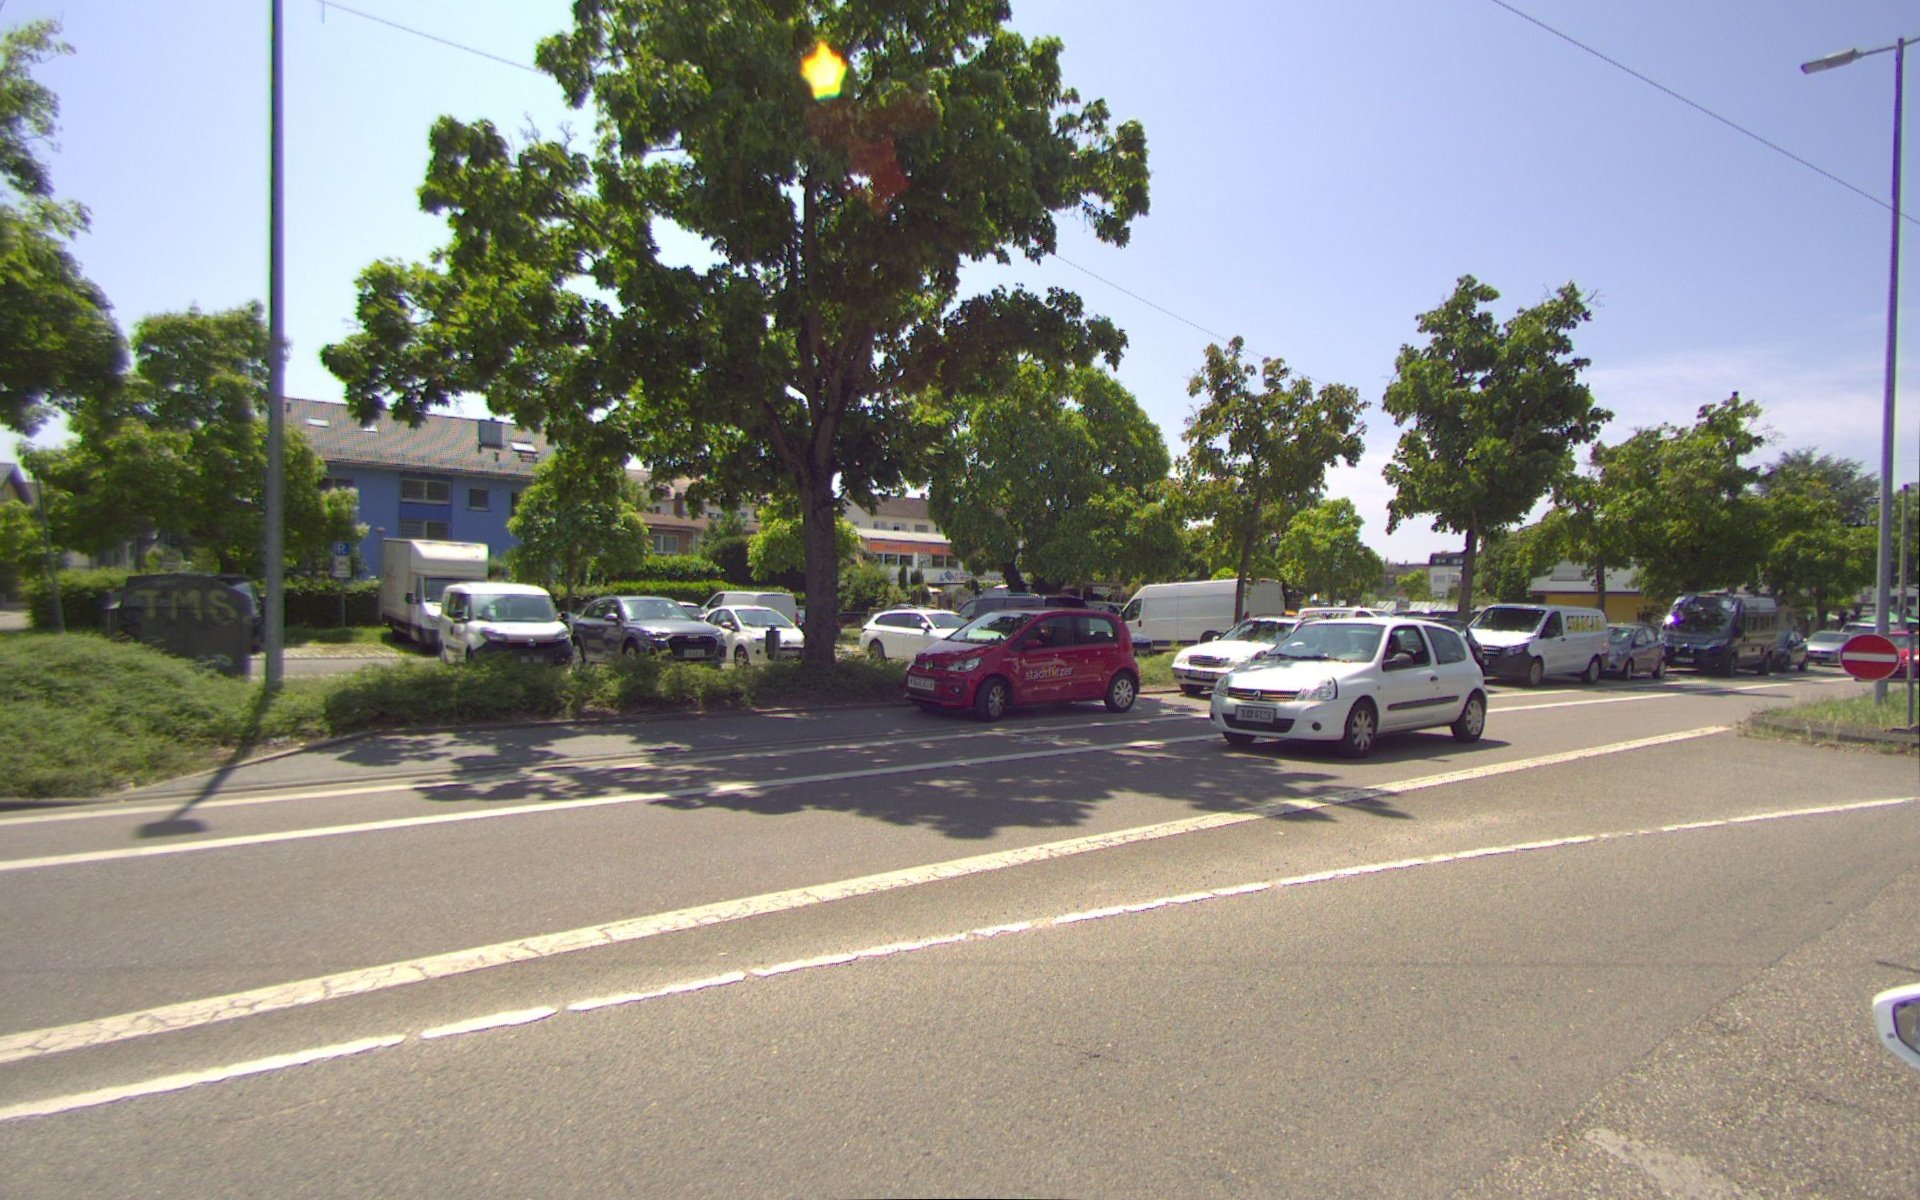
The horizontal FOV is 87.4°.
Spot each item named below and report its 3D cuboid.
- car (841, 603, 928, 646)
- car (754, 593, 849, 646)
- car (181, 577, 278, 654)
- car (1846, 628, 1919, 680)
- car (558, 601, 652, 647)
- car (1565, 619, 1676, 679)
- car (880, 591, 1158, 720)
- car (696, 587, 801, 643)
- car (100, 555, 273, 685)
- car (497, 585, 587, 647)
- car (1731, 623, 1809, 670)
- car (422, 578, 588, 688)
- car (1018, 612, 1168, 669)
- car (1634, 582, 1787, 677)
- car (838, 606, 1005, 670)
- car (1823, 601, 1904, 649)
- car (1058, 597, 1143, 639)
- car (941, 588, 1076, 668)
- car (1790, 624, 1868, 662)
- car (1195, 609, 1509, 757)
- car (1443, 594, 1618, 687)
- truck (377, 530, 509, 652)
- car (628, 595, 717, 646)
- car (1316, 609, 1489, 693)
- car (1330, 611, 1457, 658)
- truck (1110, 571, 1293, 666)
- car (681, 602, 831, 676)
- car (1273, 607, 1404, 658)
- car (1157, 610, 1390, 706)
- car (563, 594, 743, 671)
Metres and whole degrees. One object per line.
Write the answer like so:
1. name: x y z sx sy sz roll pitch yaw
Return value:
1. car: -3.093 0.973 40.611 1.496 1.539 4.096 1 1 -37
2. car: -6.035 0.701 37.927 1.725 1.845 4.095 1 1 -38
3. car: -19.481 0.359 26.890 1.921 1.845 4.675 1 1 -35
4. car: 27.562 1.572 29.576 3.575 1.428 1.644 2 -2 -39
5. car: -12.053 0.778 33.949 1.801 1.351 4.095 1 1 -38
6. car: 18.569 1.349 28.186 3.805 1.459 1.394 2 3 -38
7. car: 0.892 0.742 14.270 3.691 1.567 1.660 2 1 -36
8. car: -7.679 0.525 36.243 1.956 1.845 4.091 2 0 -41
9. car: -12.918 0.290 16.961 2.041 1.881 4.417 1 0 -36
10. car: -13.618 0.482 32.630 1.633 1.845 4.095 1 1 -38
11. car: 29.798 1.698 36.917 3.989 1.543 1.302 2 3 -38
12. car: -8.790 0.556 19.220 1.661 1.860 4.227 1 0 -42
13. car: 3.780 1.124 29.145 1.841 1.430 4.175 1 0 -39
14. car: 24.667 0.939 32.919 6.119 2.692 2.379 2 3 -39
15. car: -1.122 0.949 26.773 2.041 1.508 4.723 1 0 -39
16. car: 42.179 1.151 46.872 5.119 1.992 1.861 2 3 -38
17. car: 6.787 0.849 48.906 1.761 1.845 4.098 1 1 -36
18. car: 1.242 0.731 27.689 1.834 2.021 4.192 2 0 -28
19. car: 37.059 1.832 42.803 3.829 1.439 1.620 2 2 -36
20. car: 4.493 0.857 11.303 3.778 1.394 1.636 2 -3 -38
21. car: 14.067 0.959 24.671 4.760 1.963 1.849 2 3 -36
22. truck: -15.779 -0.298 30.379 2.133 3.271 6.919 1 1 -39
23. car: -10.193 0.696 35.436 1.718 1.597 3.717 1 1 -38
24. car: 9.358 1.037 21.174 3.748 1.504 1.602 2 3 -36
25. car: 18.494 1.428 43.015 1.781 1.837 4.680 1 0 -39
26. truck: 7.745 0.554 32.776 2.409 2.796 5.538 1 0 -36
27. car: -4.834 0.847 23.398 1.913 1.528 4.094 1 0 -35
28. car: 15.158 1.265 40.411 1.781 1.837 4.680 1 0 -39
29. car: 5.832 0.994 18.393 4.731 1.446 1.704 2 2 -39
30. car: -6.515 0.628 21.074 2.065 1.422 4.158 1 0 -42
